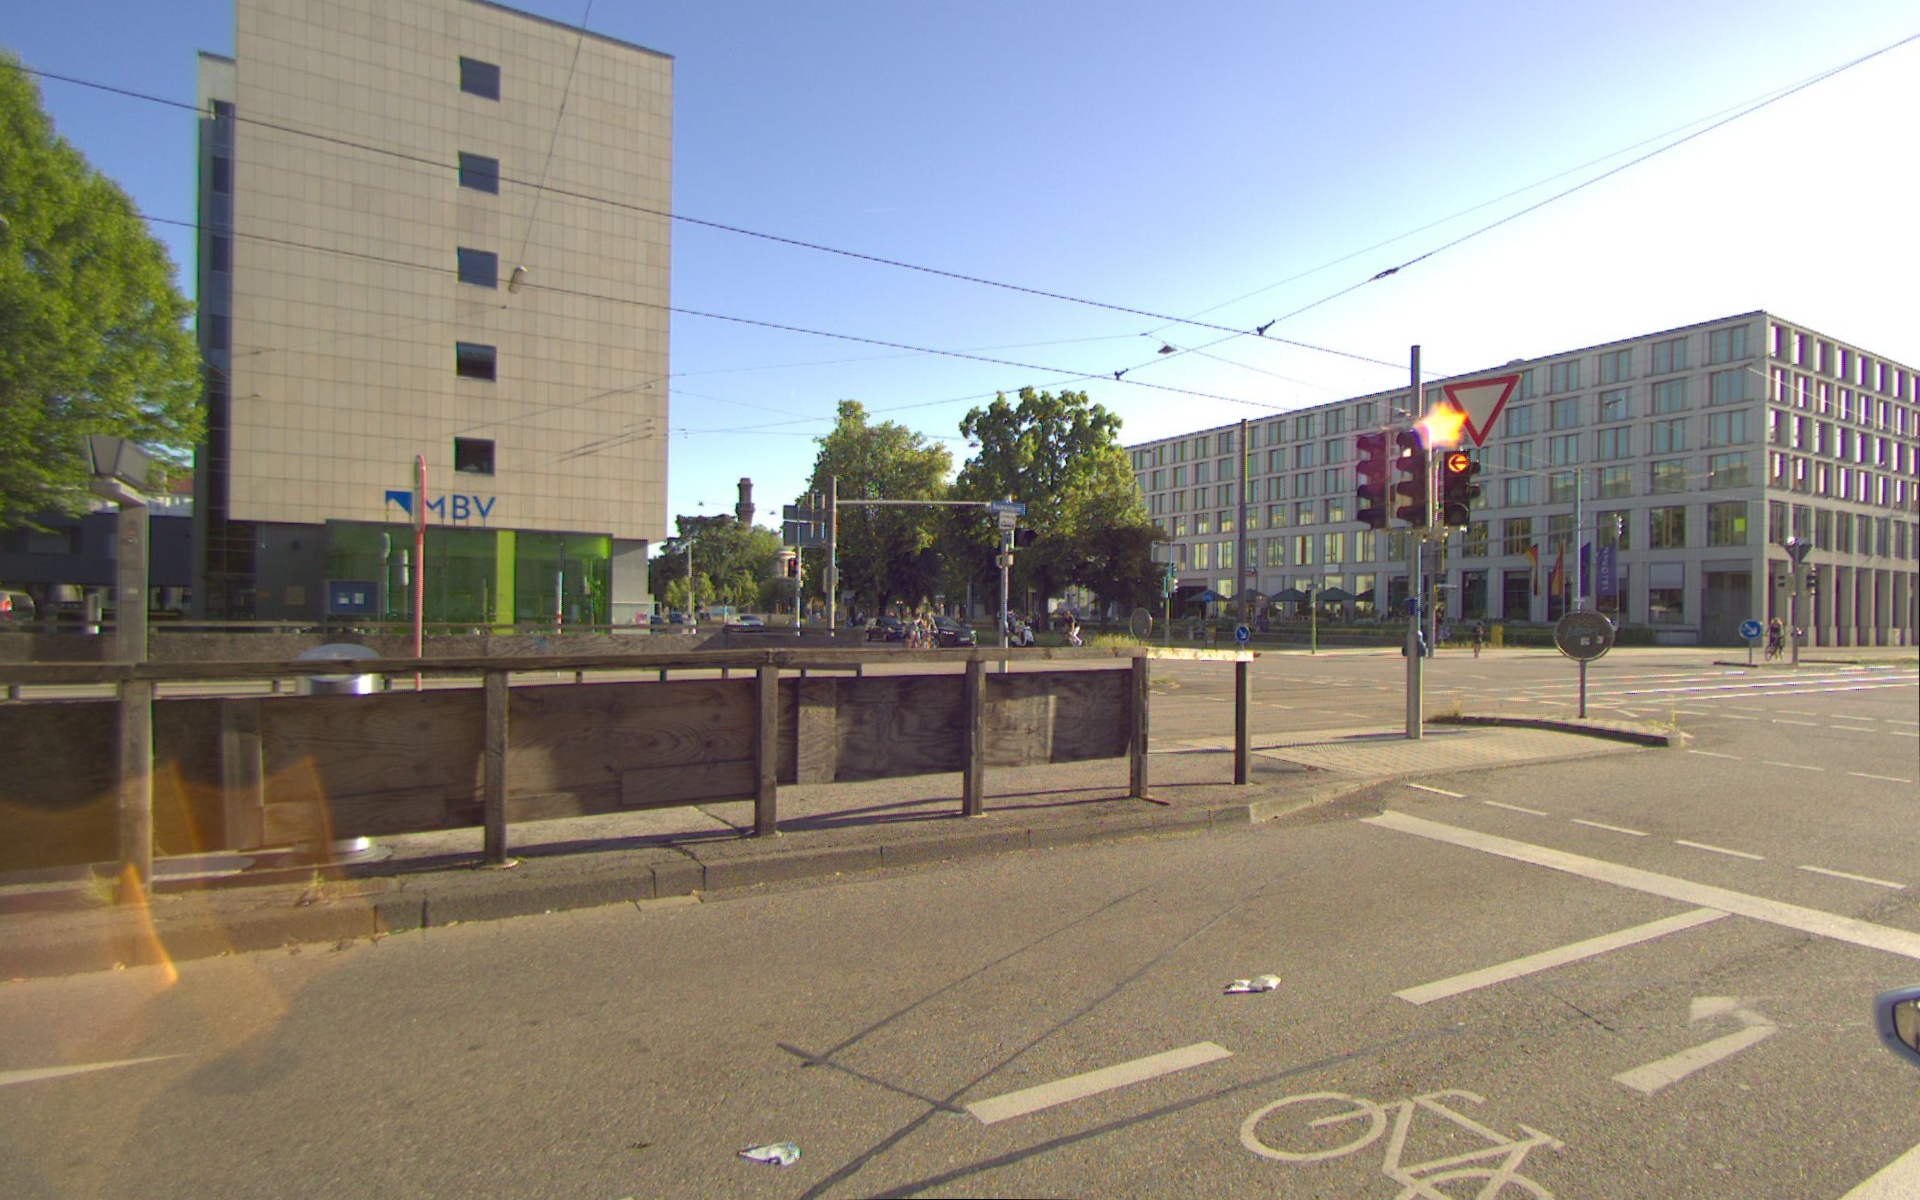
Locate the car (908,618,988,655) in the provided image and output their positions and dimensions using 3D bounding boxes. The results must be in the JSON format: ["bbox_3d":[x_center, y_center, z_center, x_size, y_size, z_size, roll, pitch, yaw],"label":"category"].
[{"bbox_3d":[-0.591,1.615,45.162,1.925,1.561,3.969,2,-2,-29],"label":"car"}]

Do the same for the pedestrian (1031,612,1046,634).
[{"bbox_3d":[6.201,1.801,79.388,0.858,1.738,0.737,2,0,-26],"label":"pedestrian"}]

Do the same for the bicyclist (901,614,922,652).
[{"bbox_3d":[-2.025,1.366,42.022,0.577,1.563,0.833,1,-2,-32],"label":"bicyclist"}]

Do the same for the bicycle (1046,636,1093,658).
[{"bbox_3d":[4.245,1.811,38.881,1.831,0.798,0.532,1,-1,-31],"label":"bicycle"}]

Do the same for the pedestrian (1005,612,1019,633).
[{"bbox_3d":[4.348,1.862,83.342,0.858,1.738,0.737,2,0,-26],"label":"pedestrian"}]

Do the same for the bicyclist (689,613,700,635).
[{"bbox_3d":[-20.241,1.818,76.576,0.576,1.658,0.890,1,-1,-27],"label":"bicyclist"}]

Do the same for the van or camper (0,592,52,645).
[{"bbox_3d":[-27.880,0.433,27.571,3.954,1.425,1.954,4,-3,-30],"label":"van or camper"}]

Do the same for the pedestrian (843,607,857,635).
[{"bbox_3d":[-8.146,1.551,74.142,0.772,2.040,0.747,1,-1,-31],"label":"pedestrian"}]

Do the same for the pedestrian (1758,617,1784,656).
[{"bbox_3d":[34.627,1.556,42.902,0.733,1.616,0.571,1,-1,-20],"label":"pedestrian"}]

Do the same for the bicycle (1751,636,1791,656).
[{"bbox_3d":[34.626,1.951,42.897,1.693,0.834,0.571,1,-1,-21],"label":"bicycle"}]

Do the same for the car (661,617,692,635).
[{"bbox_3d":[-26.730,2.448,94.707,1.975,1.472,4.179,2,0,-28],"label":"car"}]

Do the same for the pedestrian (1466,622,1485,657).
[{"bbox_3d":[25.032,1.924,48.770,0.597,1.703,0.602,1,-1,-22],"label":"pedestrian"}]

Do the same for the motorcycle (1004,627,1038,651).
[{"bbox_3d":[2.855,1.818,46.961,0.624,1.030,1.972,-3,1,-28],"label":"motorcycle"}]

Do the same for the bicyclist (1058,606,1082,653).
[{"bbox_3d":[4.269,1.136,38.896,0.762,1.784,0.532,1,-1,-30],"label":"bicyclist"}]

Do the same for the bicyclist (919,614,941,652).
[{"bbox_3d":[-1.265,1.396,42.422,0.576,1.563,0.890,1,-1,-27],"label":"bicyclist"}]

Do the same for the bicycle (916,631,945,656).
[{"bbox_3d":[-1.259,1.826,42.386,0.576,1.032,1.666,1,-1,-27],"label":"bicycle"}]

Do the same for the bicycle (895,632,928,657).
[{"bbox_3d":[-2.030,1.845,42.025,0.577,1.032,1.806,1,-3,-31],"label":"bicycle"}]

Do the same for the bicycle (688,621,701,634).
[{"bbox_3d":[-20.222,2.090,76.526,0.576,1.032,1.666,1,-1,-27],"label":"bicycle"}]

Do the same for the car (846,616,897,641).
[{"bbox_3d":[-5.564,1.801,62.951,1.674,1.506,3.719,1,-1,-33],"label":"car"}]

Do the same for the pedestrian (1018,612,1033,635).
[{"bbox_3d":[5.172,1.869,79.519,0.858,1.738,0.737,2,0,-26],"label":"pedestrian"}]

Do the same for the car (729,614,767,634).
[{"bbox_3d":[-17.320,1.959,81.982,1.975,1.472,4.179,2,0,-28],"label":"car"}]

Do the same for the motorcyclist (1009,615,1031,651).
[{"bbox_3d":[2.815,1.536,46.992,0.624,1.601,0.812,-3,1,-28],"label":"motorcyclist"}]
